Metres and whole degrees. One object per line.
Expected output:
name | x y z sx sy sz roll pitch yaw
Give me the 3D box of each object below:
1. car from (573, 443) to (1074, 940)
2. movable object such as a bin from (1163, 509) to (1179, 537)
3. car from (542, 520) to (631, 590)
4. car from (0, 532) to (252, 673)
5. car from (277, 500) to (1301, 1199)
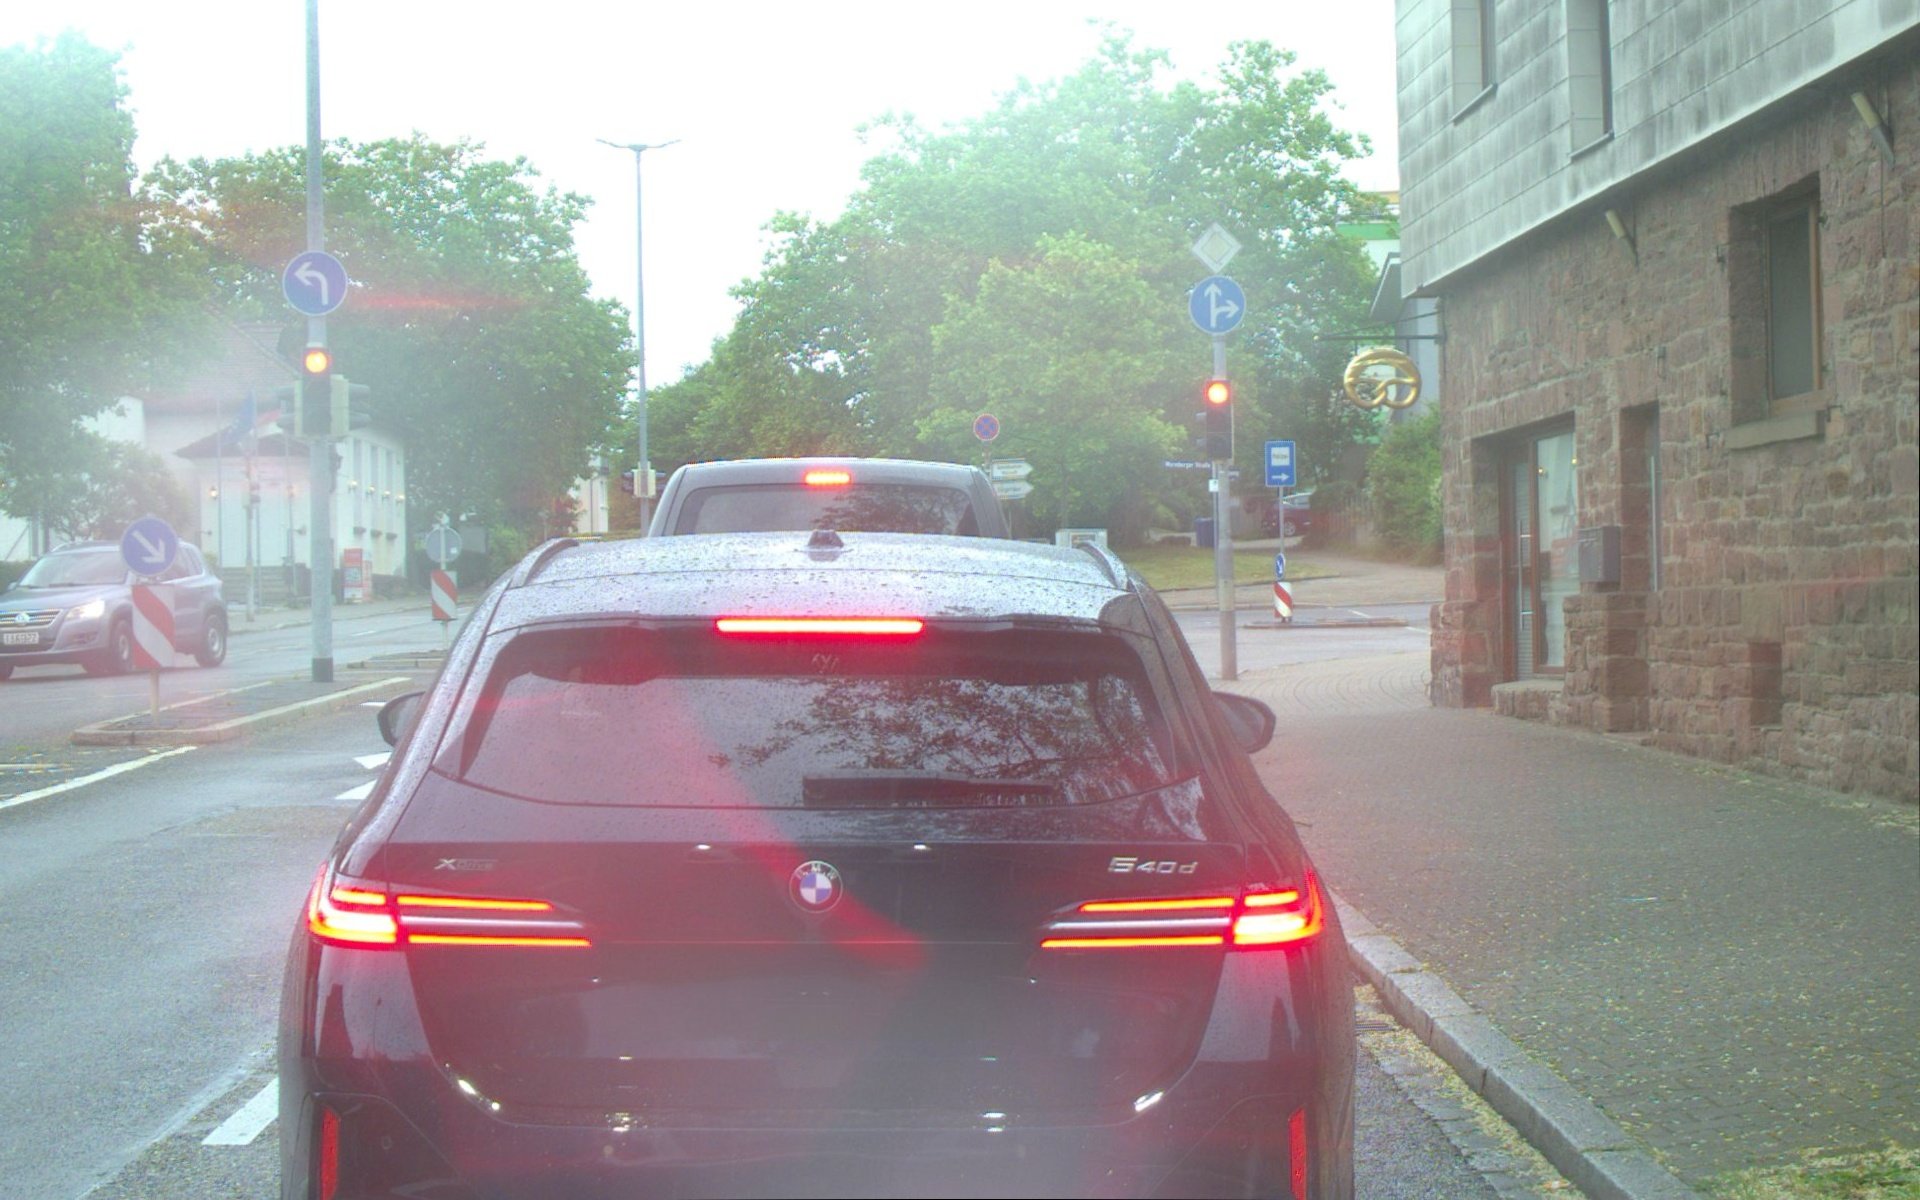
car | -0.614 0.321 14.487 1.812 1.802 3.757 1 0 -4
movable object such as a bin | 7.064 -2.578 115.254 0.450 0.902 0.462 1 0 15
car | -9.003 -1.108 83.194 1.898 1.572 4.503 -1 2 -4
car | -10.613 -0.001 42.265 1.910 1.585 4.314 -1 1 16
car | -0.362 0.607 6.929 1.523 1.529 3.532 1 0 -4
